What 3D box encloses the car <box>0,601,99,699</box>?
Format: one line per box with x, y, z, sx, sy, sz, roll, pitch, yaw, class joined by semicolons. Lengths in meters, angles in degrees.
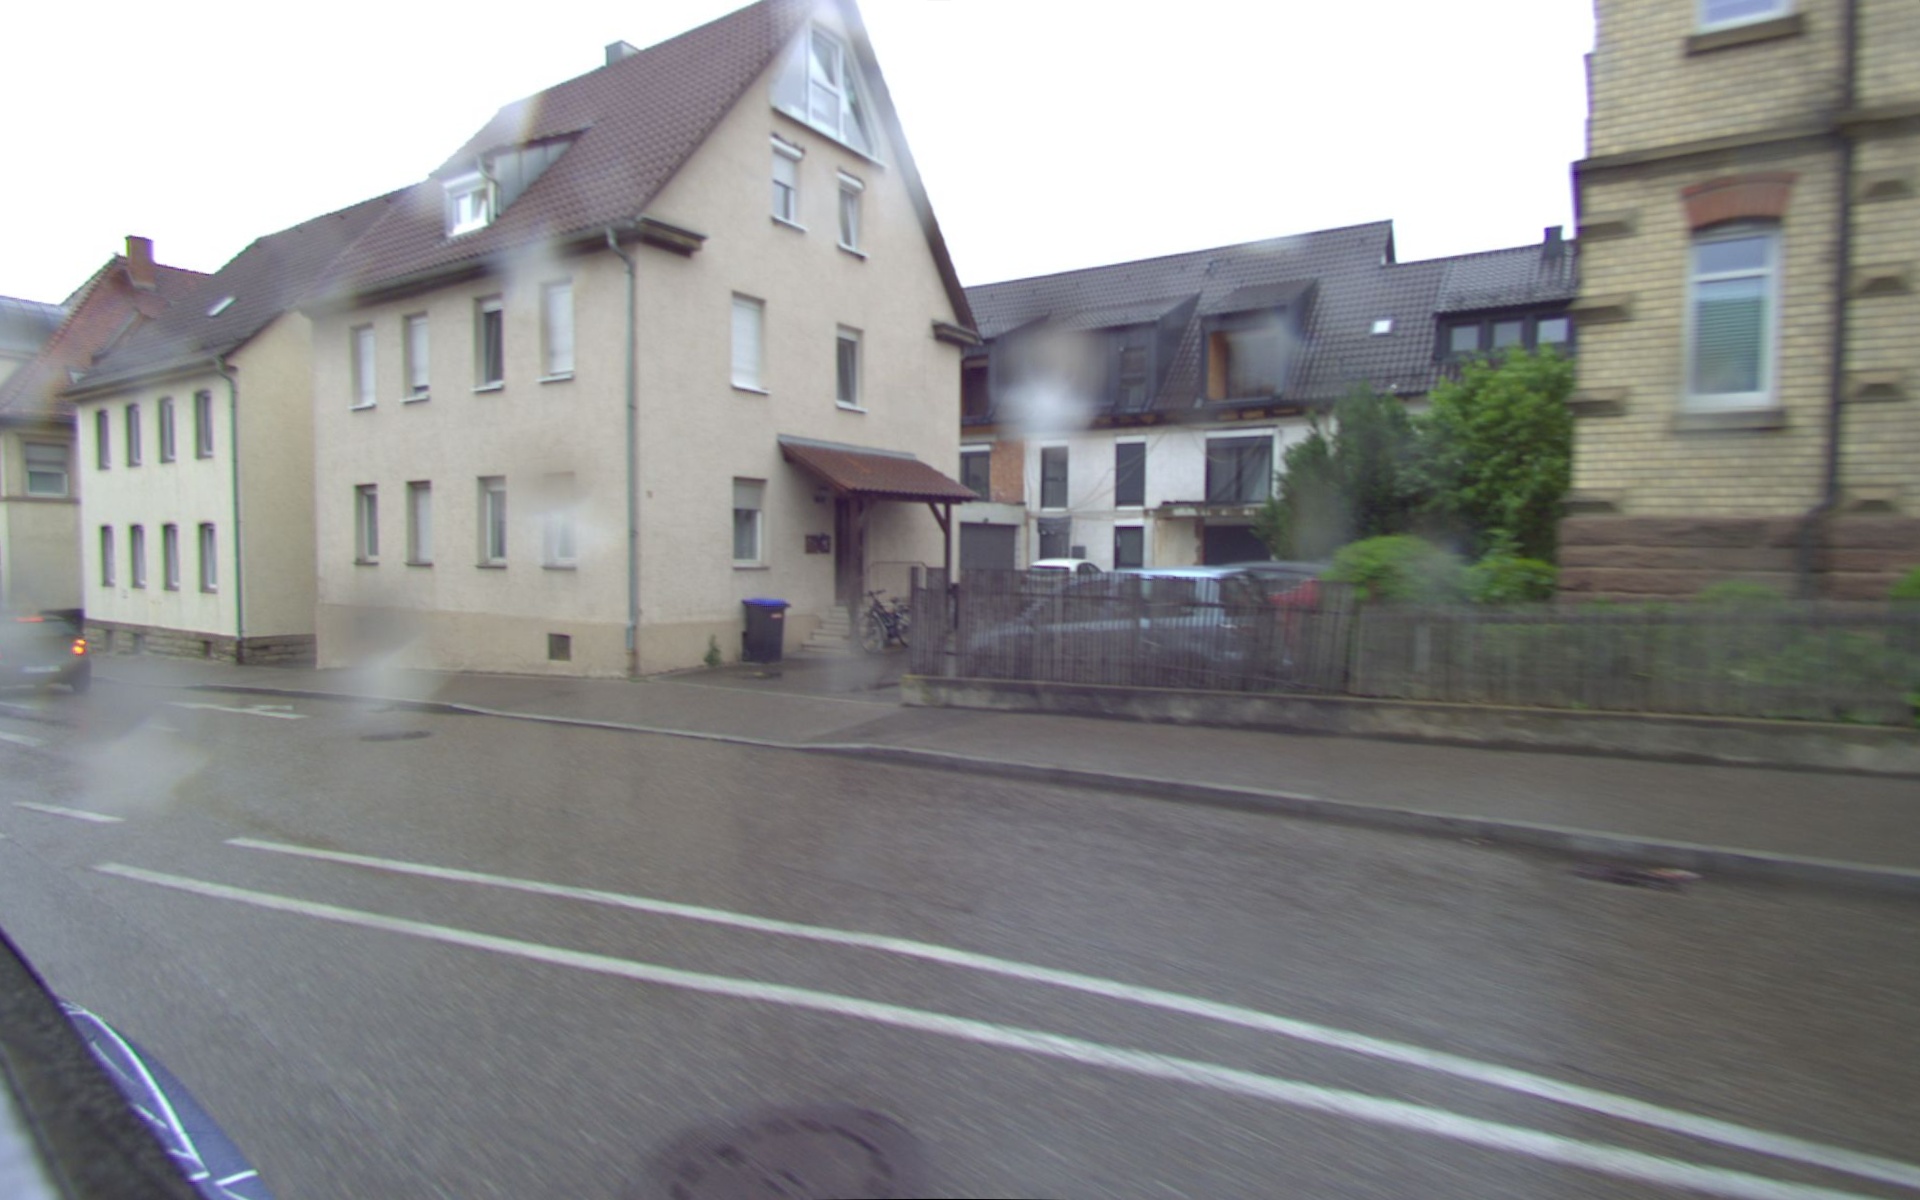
-17.896;0.911;18.962;3.805;1.583;1.730;-1;4;36;car

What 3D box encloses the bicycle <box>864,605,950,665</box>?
-0.955;0.627;18.742;0.578;1.005;1.941;-2;0;32;bicycle

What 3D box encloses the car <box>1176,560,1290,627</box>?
7.028;-0.191;25.821;1.838;1.477;3.537;-2;2;32;car

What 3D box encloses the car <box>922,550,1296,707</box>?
1.654;0.297;11.710;3.874;1.514;1.756;-2;2;35;car

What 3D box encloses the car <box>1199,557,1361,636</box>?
7.017;-0.115;22.067;3.522;1.477;1.846;-4;2;-43;car

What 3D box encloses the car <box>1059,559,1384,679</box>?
3.483;0.249;13.684;3.872;1.377;1.757;-2;2;34;car

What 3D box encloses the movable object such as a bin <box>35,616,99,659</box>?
-28.805;1.209;32.664;1.047;1.275;1.270;-2;1;32;movable object such as a bin

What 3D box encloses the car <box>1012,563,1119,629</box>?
3.025;-0.131;28.596;1.759;1.612;3.226;-2;3;31;car

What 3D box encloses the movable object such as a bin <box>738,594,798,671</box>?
-3.226;0.540;17.025;0.648;1.256;0.750;-1;0;34;movable object such as a bin
